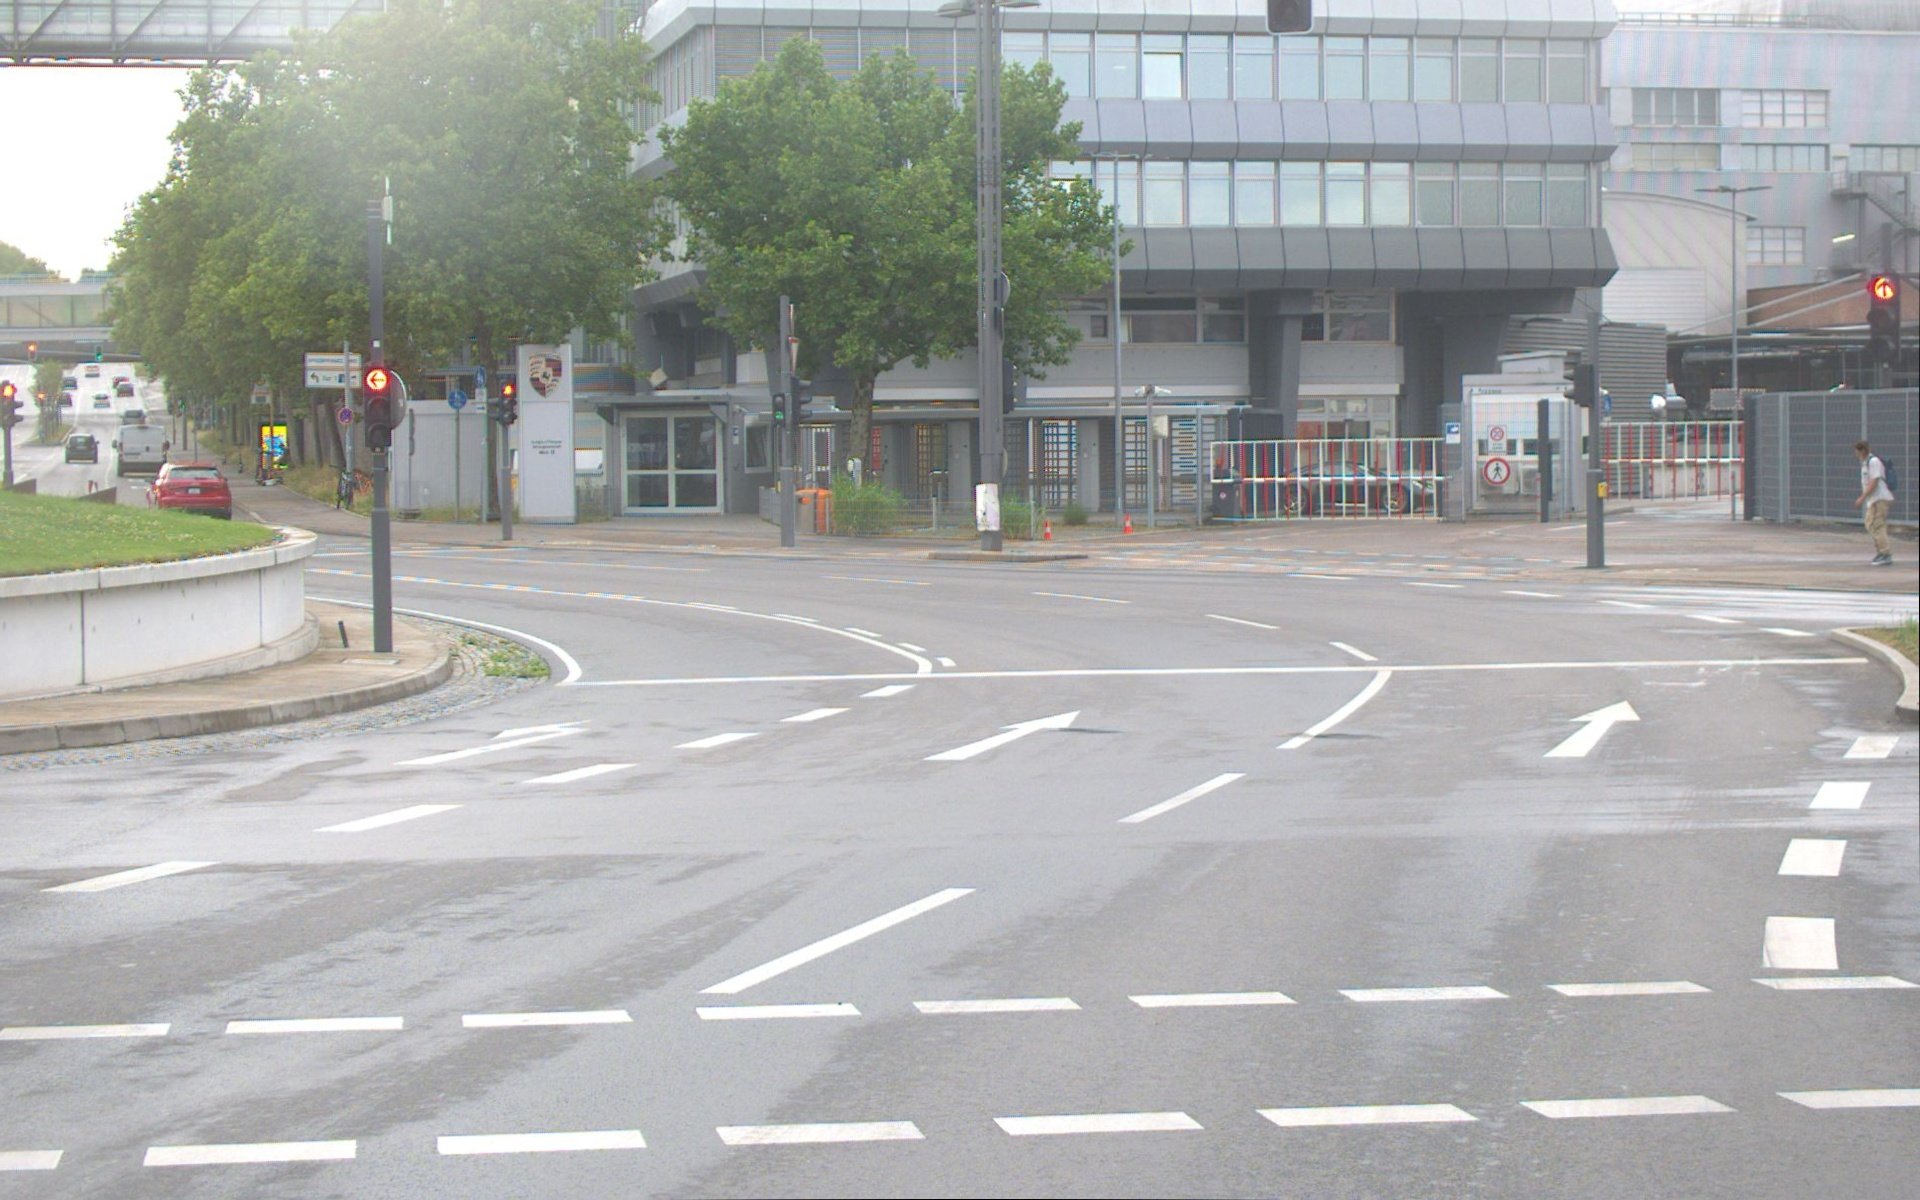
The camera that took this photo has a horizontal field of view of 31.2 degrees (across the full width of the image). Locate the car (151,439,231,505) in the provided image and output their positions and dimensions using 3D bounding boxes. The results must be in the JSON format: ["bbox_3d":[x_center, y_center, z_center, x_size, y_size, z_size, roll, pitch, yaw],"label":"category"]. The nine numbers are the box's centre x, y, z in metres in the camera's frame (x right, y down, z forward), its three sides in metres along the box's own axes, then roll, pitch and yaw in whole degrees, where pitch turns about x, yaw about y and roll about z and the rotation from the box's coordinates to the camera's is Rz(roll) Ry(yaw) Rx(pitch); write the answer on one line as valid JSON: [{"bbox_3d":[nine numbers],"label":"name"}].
[{"bbox_3d":[-18.450,-3.055,82.613,1.772,1.459,3.734,-1,0,-11],"label":"car"}]

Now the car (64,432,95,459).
[{"bbox_3d":[-46.673,-8.190,182.259,1.556,1.284,3.415,-1,0,-15],"label":"car"}]

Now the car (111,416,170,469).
[{"bbox_3d":[-35.719,-6.857,149.751,2.232,2.100,4.956,-1,0,-16],"label":"car"}]

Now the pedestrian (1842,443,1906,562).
[{"bbox_3d":[12.576,-1.330,47.293,0.808,1.605,0.769,-1,0,17],"label":"pedestrian"}]
